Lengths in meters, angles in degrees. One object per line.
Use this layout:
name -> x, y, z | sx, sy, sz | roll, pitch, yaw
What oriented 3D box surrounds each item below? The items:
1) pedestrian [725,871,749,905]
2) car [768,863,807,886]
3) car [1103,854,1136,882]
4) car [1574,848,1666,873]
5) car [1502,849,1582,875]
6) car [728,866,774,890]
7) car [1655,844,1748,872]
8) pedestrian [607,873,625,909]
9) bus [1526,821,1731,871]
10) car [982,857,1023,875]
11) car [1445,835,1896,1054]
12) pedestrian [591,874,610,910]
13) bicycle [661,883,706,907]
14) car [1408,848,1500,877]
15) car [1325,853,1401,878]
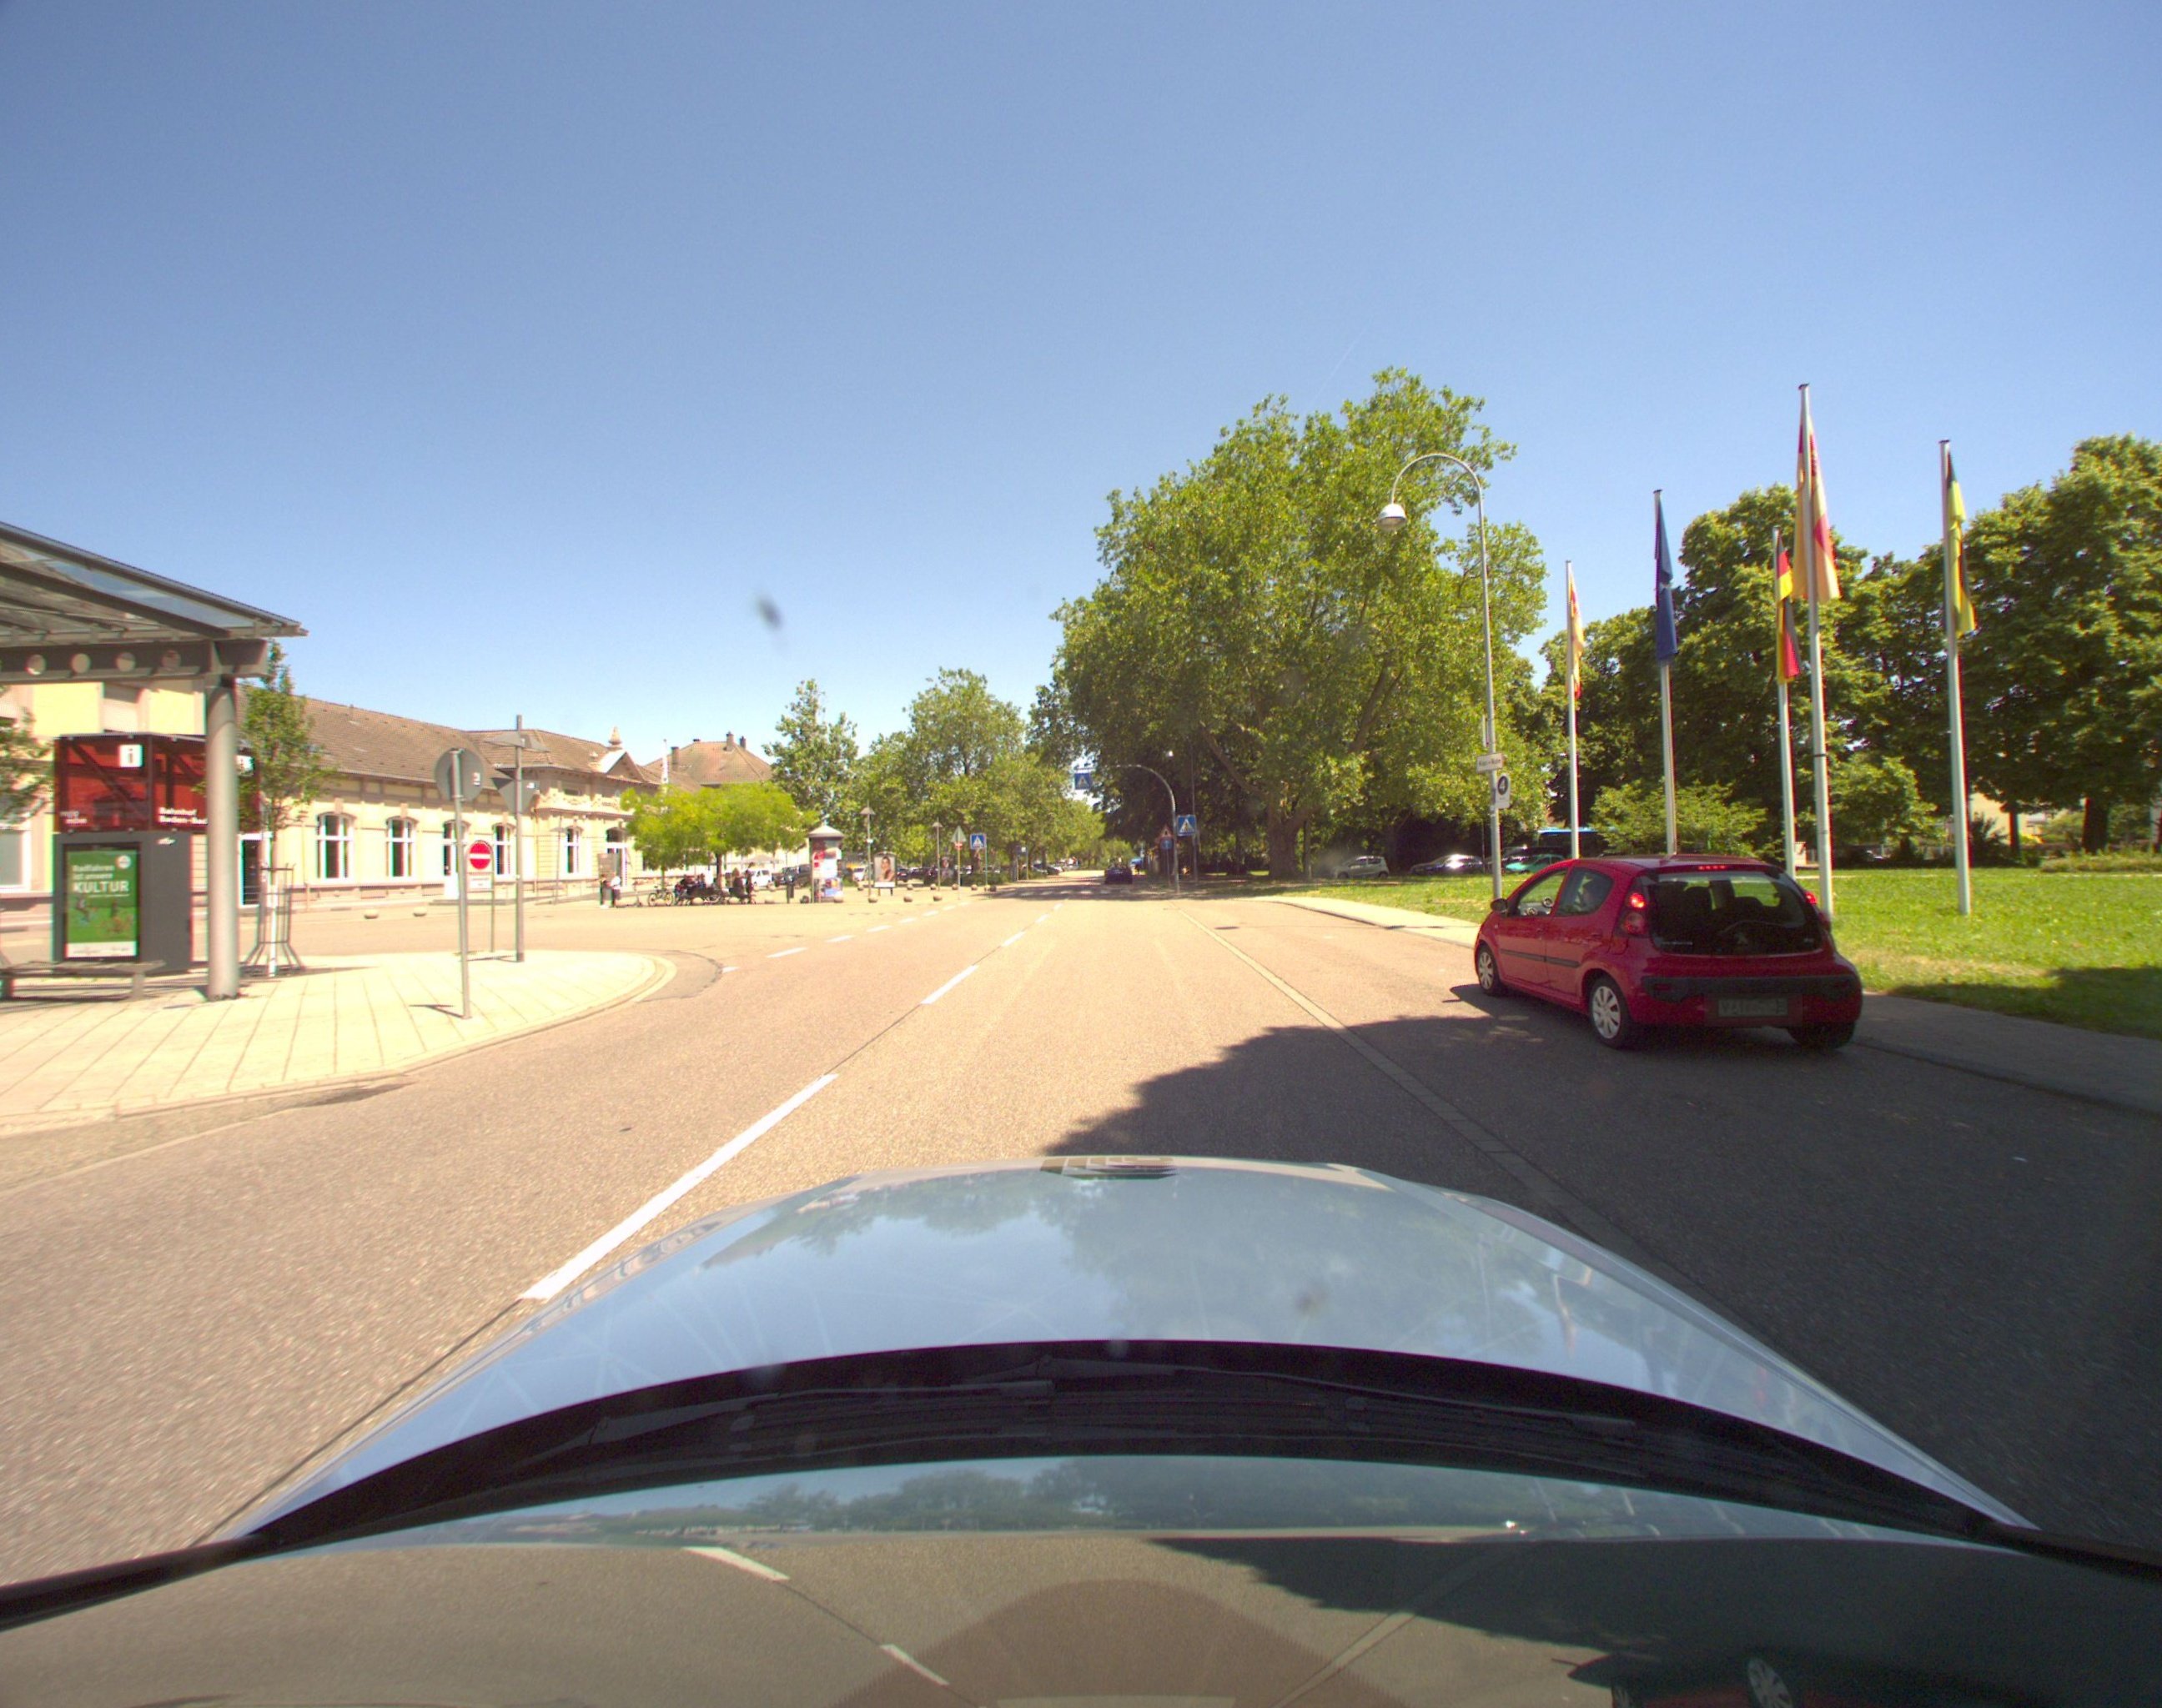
pedestrian -> -16.987, 1.691, 40.203 | 0.754, 1.659, 0.724 | -3, -3, 19
car -> -27.246, 1.842, 75.752 | 1.986, 2.014, 4.001 | -2, -1, 2
car -> 2.566, 0.948, 55.489 | 2.117, 1.848, 4.049 | -1, -1, 1
car -> 33.258, 0.427, 50.329 | 4.319, 1.416, 2.001 | -1, -2, 2
car -> 28.551, 0.513, 50.535 | 3.864, 1.454, 2.001 | -1, -2, 3
car -> -27.847, 1.984, 68.859 | 1.744, 1.917, 4.777 | -2, 0, 2
car -> 38.167, 0.238, 50.179 | 4.079, 1.609, 2.002 | -1, -2, 4
pedestrian -> -21.959, 1.748, 38.454 | 0.589, 1.710, 0.580 | 1, -4, -44
bus -> 37.444, -0.502, 55.951 | 12.330, 2.978, 2.269 | -2, -2, 2
car -> -8.390, 1.314, 86.716 | 3.995, 1.782, 1.989 | -1, -3, -16
car -> 4.892, 0.657, 7.500 | 1.710, 1.478, 3.712 | -2, -1, 6
pedestrian -> -22.390, 1.763, 37.957 | 0.661, 1.673, 0.623 | 1, -4, -44
bicycle -> -18.255, 1.861, 37.442 | 1.800, 1.031, 0.485 | -1, -1, -22
car -> 23.138, 0.508, 50.682 | 4.800, 1.607, 2.003 | -2, -1, 5
car -> 17.719, 0.716, 51.290 | 4.086, 1.466, 2.002 | -2, -1, 4
